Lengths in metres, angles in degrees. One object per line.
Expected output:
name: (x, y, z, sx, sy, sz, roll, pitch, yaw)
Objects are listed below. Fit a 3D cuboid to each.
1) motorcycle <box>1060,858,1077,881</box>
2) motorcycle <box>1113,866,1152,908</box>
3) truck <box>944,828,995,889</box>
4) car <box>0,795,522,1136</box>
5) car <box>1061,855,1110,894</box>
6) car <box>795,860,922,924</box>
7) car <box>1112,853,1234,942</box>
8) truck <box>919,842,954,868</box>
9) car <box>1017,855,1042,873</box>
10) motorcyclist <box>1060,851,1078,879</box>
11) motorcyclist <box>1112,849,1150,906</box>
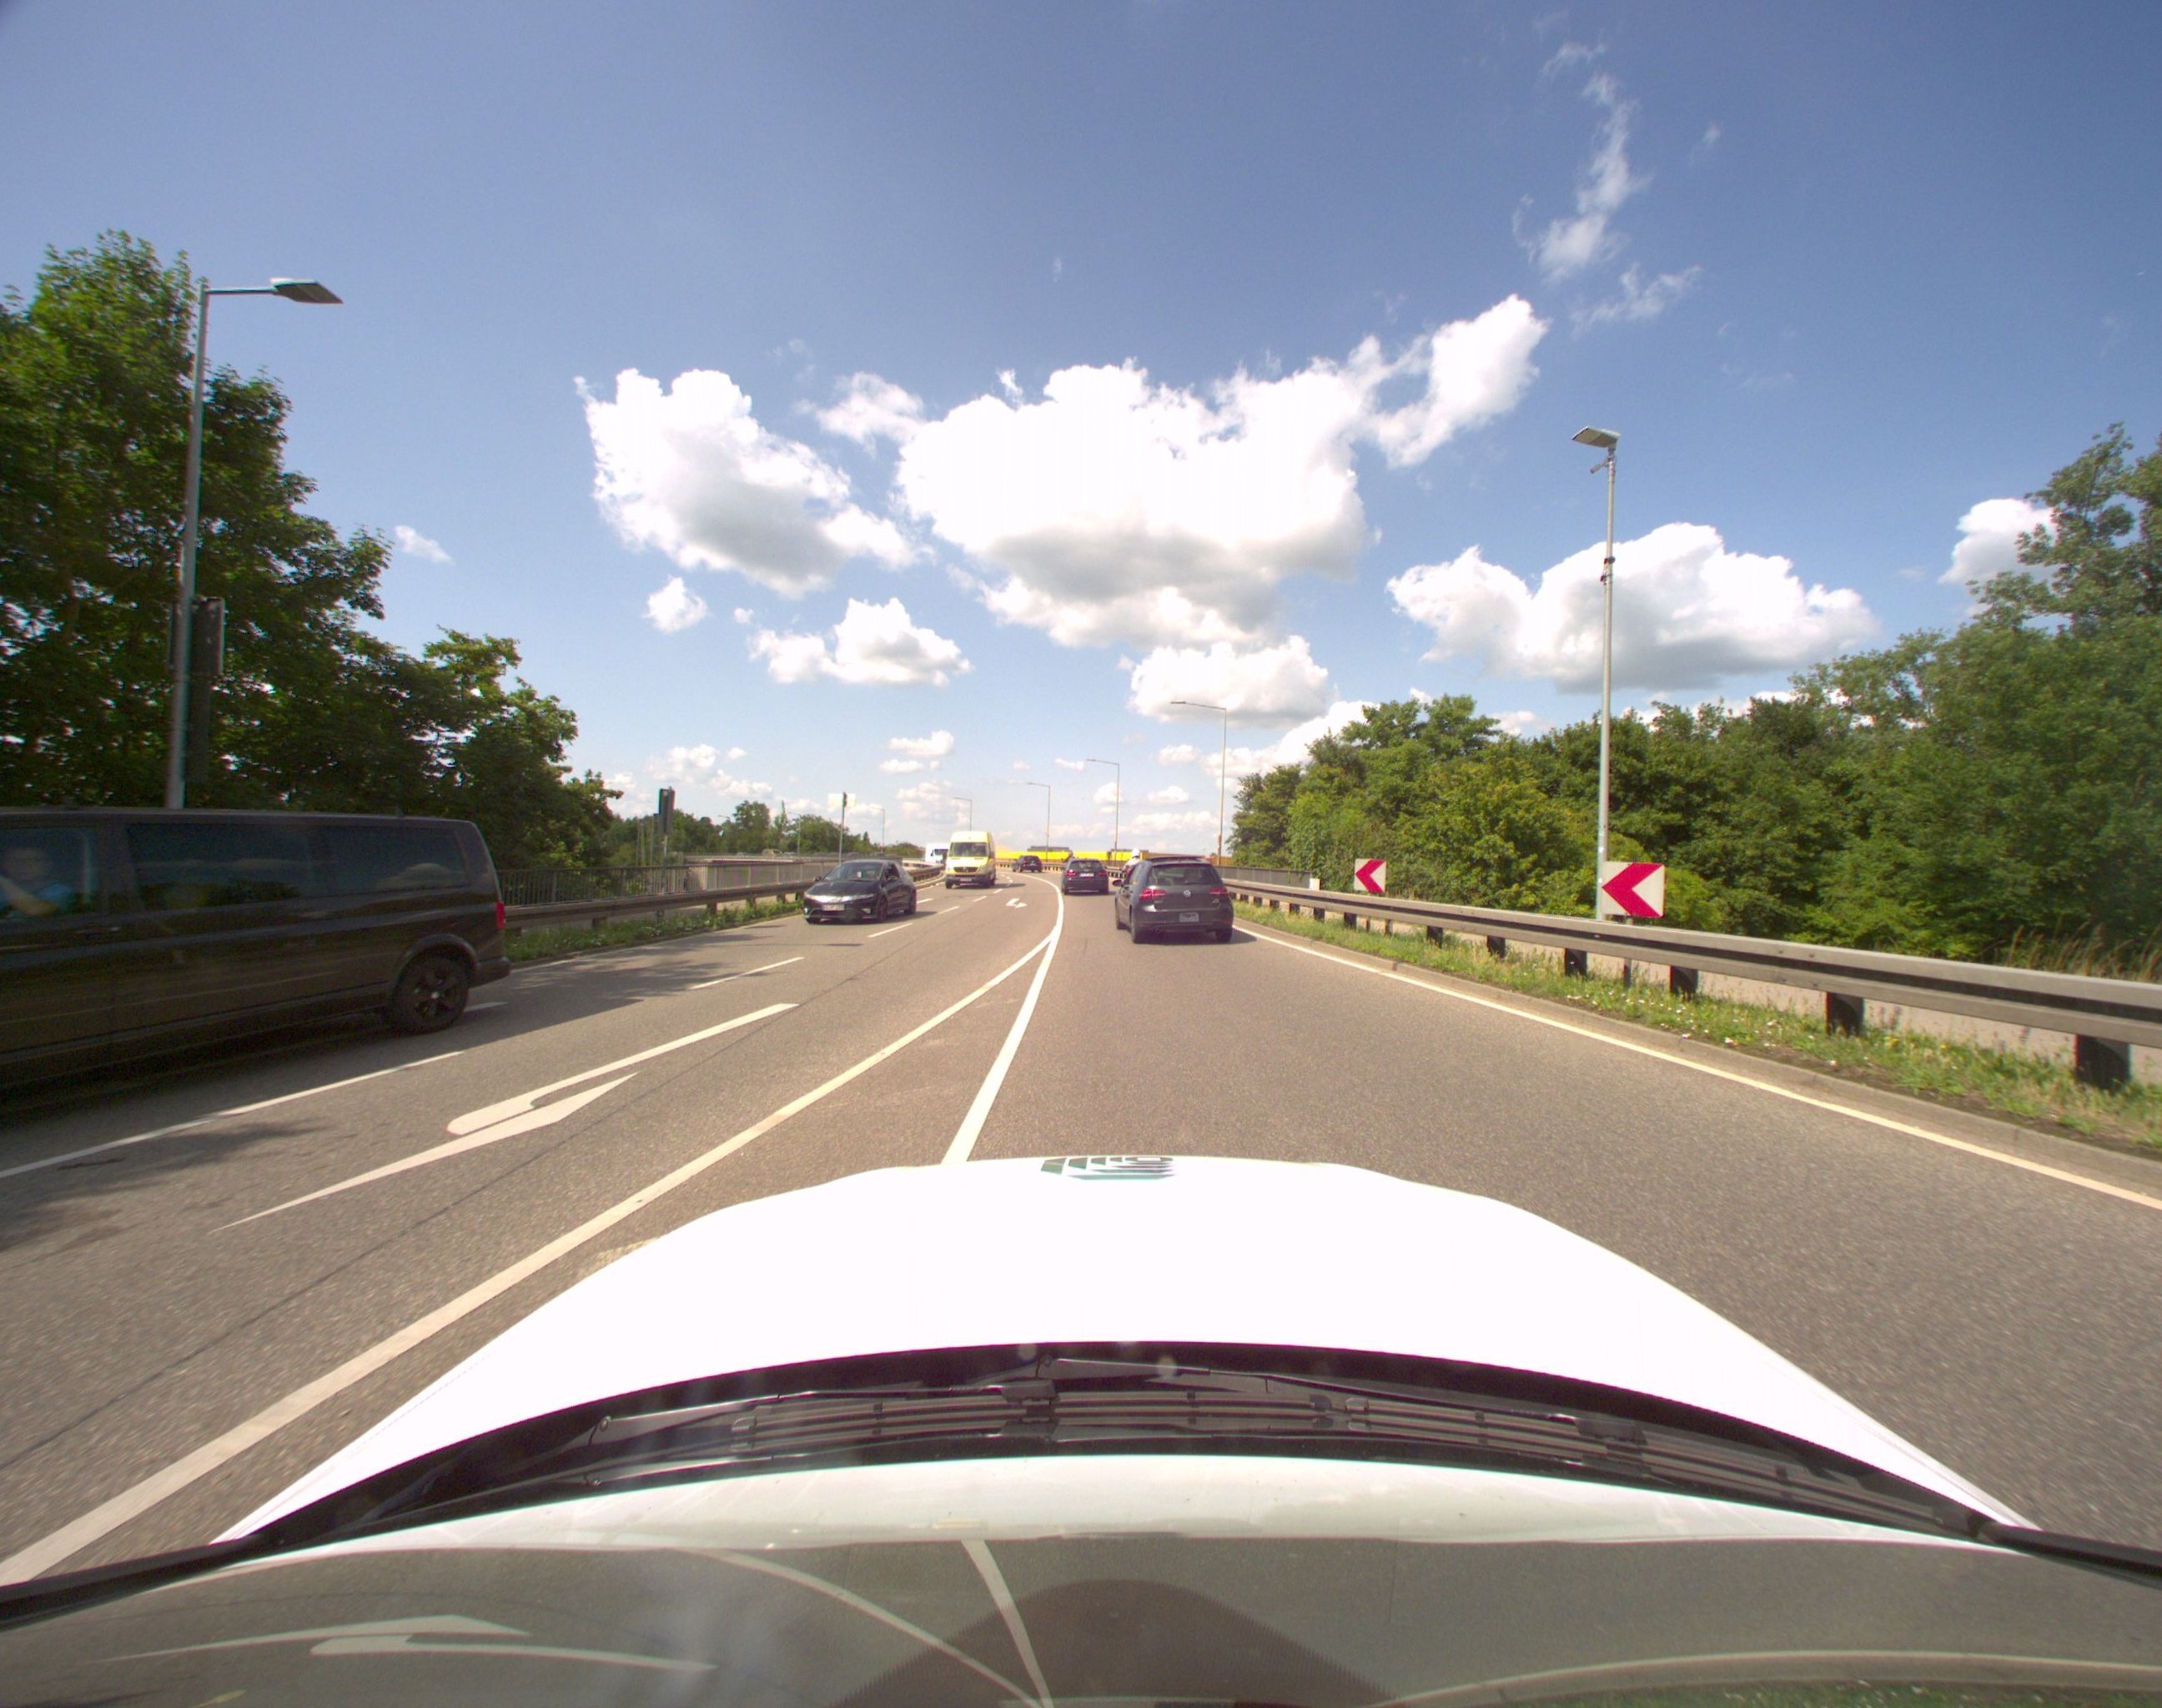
motorcycle: (-0.705, 0.852, 46.010, 0.885, 1.247, 2.397, 1, 0, -2)
motorcycle: (1.465, 0.929, 23.586, 0.787, 1.132, 2.395, 1, 0, -4)
truck: (-5.215, 0.204, 38.739, 1.990, 2.621, 6.093, -1, 0, -5)
car: (-6.933, 0.632, 5.802, 1.984, 1.913, 5.141, -1, 0, 6)
car: (0.126, 0.785, 31.720, 1.678, 1.388, 3.734, 0, -1, -3)
car: (-5.302, 0.851, 19.976, 1.791, 1.389, 4.010, 0, 0, 3)
car: (1.596, 0.742, 15.409, 1.639, 1.479, 3.866, 0, -1, -4)
truck: (-14.696, 0.061, 82.523, 2.003, 2.507, 5.898, 0, 0, -25)
car: (-4.264, 0.816, 67.366, 1.643, 1.479, 3.858, 1, -1, -10)
motorcyclist: (-0.704, 0.615, 46.038, 0.963, 1.596, 1.124, 1, -1, -2)
motorcyclist: (1.456, 0.686, 23.810, 0.964, 1.620, 1.123, 1, -1, -5)
